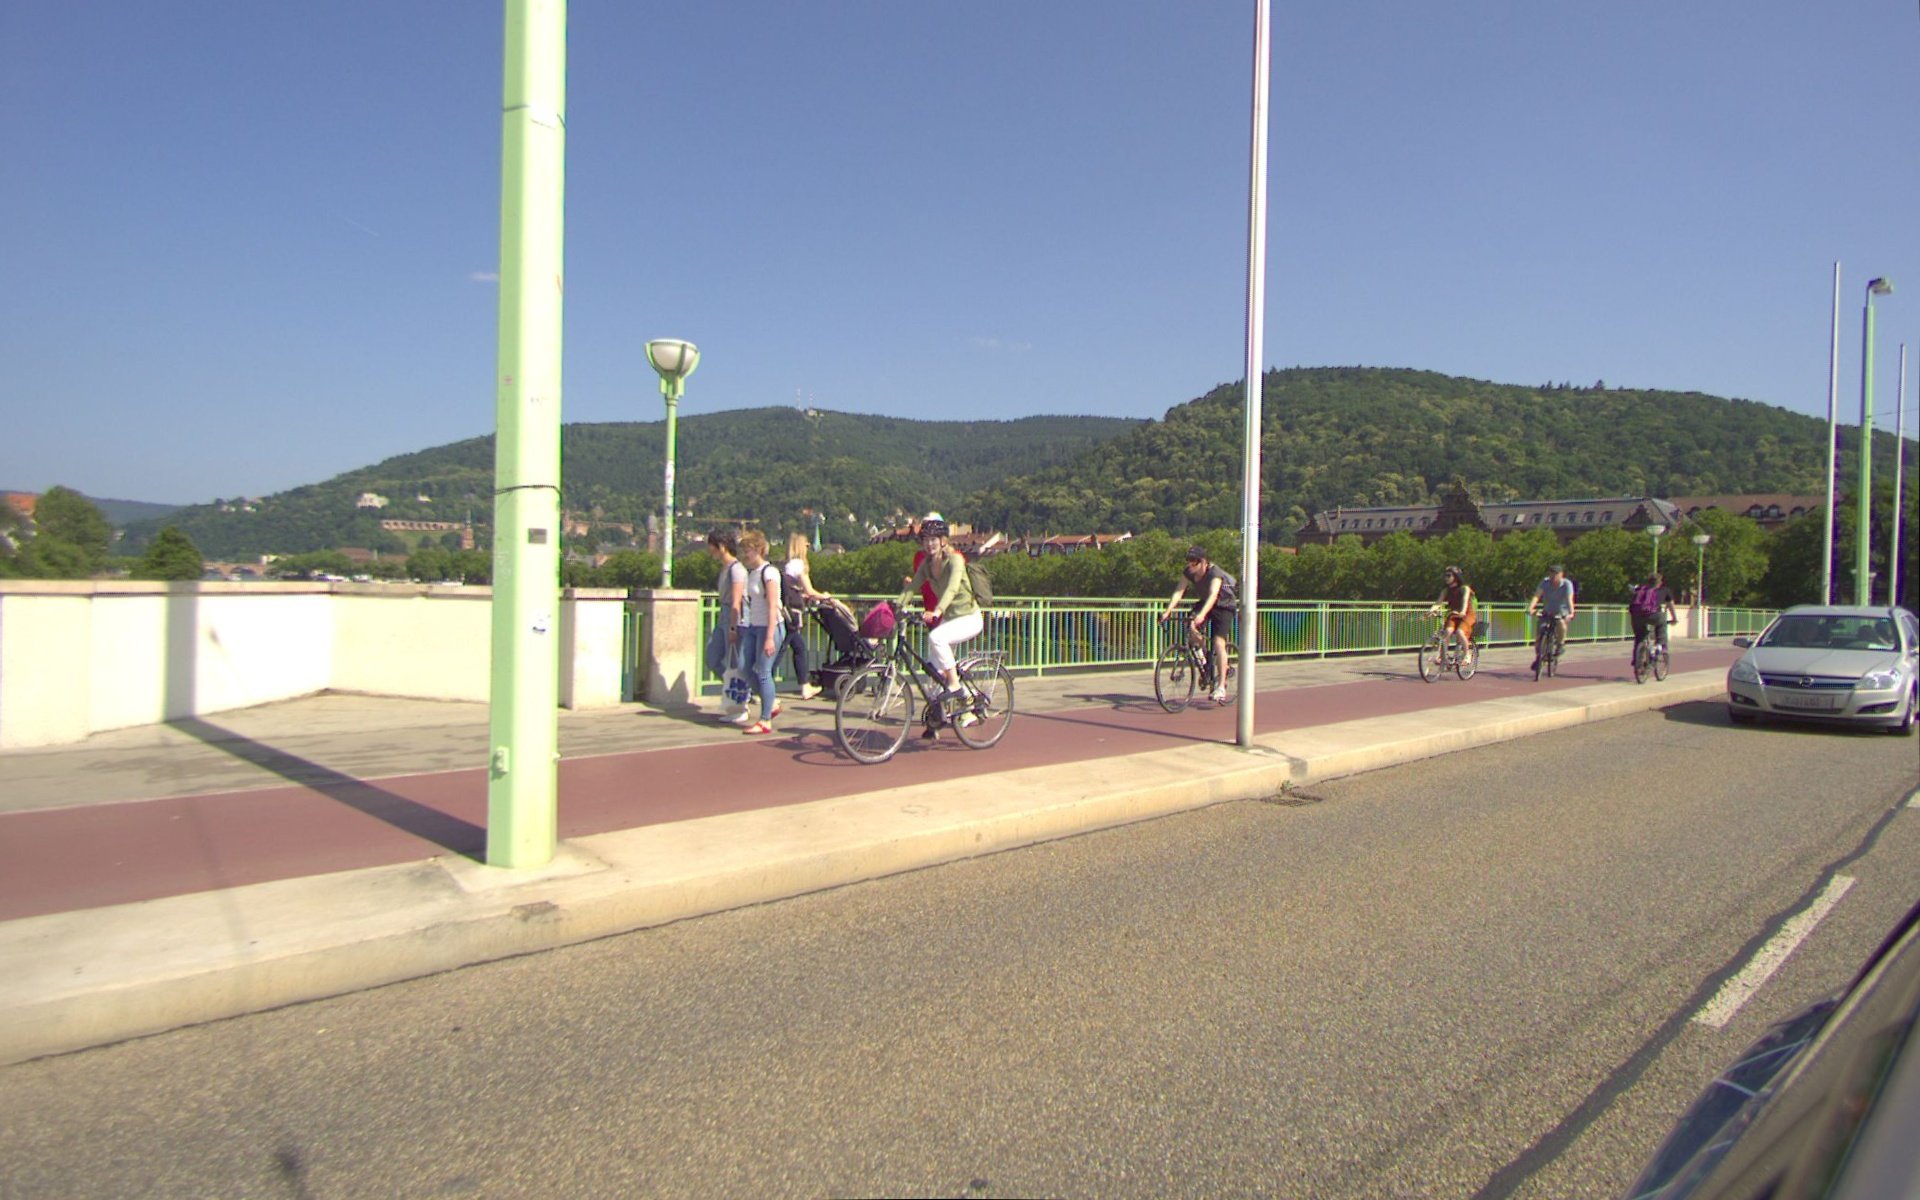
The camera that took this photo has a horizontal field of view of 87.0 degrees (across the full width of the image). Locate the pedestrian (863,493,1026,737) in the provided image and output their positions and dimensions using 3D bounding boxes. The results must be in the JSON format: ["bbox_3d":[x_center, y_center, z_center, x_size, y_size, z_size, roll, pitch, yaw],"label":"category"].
[{"bbox_3d":[-0.134,0.101,8.750,1.108,1.948,0.812,0,2,-41],"label":"pedestrian"}]

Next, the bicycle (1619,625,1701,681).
[{"bbox_3d":[11.026,0.814,15.917,1.833,0.775,0.595,0,2,-40],"label":"bicycle"}]

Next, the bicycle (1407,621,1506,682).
[{"bbox_3d":[7.301,0.729,14.841,1.833,0.775,0.595,0,2,-40],"label":"bicycle"}]

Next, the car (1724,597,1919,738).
[{"bbox_3d":[11.226,0.711,12.758,4.250,1.484,1.708,0,0,-41],"label":"car"}]

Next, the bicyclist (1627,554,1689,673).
[{"bbox_3d":[10.889,0.195,15.779,0.660,1.791,0.587,1,2,-40],"label":"bicyclist"}]

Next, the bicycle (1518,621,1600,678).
[{"bbox_3d":[9.351,0.751,15.767,1.835,0.775,0.594,0,2,-43],"label":"bicycle"}]

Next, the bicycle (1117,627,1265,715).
[{"bbox_3d":[2.459,0.714,10.630,1.800,0.775,0.594,0,2,-43],"label":"bicycle"}]

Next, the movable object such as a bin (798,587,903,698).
[{"bbox_3d":[-1.158,0.429,10.746,0.917,1.104,0.583,0,2,-41],"label":"movable object such as a bin"}]

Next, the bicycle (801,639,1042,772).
[{"bbox_3d":[-0.239,0.726,7.503,1.835,0.775,0.594,0,2,-43],"label":"bicycle"}]

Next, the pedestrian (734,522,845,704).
[{"bbox_3d":[-1.705,0.108,10.133,0.844,1.727,0.664,0,2,-41],"label":"pedestrian"}]

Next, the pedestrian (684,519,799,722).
[{"bbox_3d":[-1.915,0.153,8.866,0.733,1.679,0.668,0,2,-41],"label":"pedestrian"}]

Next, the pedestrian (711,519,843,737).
[{"bbox_3d":[-1.504,0.204,8.314,0.810,1.679,0.664,0,2,-41],"label":"pedestrian"}]

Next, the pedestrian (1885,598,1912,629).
[{"bbox_3d":[52.686,0.730,56.812,1.063,1.683,0.949,0,3,-41],"label":"pedestrian"}]

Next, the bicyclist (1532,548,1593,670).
[{"bbox_3d":[9.378,0.128,15.752,0.690,1.842,0.587,0,2,-42],"label":"bicyclist"}]

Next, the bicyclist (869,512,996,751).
[{"bbox_3d":[-0.207,0.207,7.503,0.690,1.670,0.587,0,2,-42],"label":"bicyclist"}]

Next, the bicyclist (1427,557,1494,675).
[{"bbox_3d":[7.336,0.216,14.837,0.689,1.670,0.606,0,2,-40],"label":"bicyclist"}]

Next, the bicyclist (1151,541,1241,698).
[{"bbox_3d":[2.476,0.184,10.621,0.690,1.578,0.587,0,2,-42],"label":"bicyclist"}]
